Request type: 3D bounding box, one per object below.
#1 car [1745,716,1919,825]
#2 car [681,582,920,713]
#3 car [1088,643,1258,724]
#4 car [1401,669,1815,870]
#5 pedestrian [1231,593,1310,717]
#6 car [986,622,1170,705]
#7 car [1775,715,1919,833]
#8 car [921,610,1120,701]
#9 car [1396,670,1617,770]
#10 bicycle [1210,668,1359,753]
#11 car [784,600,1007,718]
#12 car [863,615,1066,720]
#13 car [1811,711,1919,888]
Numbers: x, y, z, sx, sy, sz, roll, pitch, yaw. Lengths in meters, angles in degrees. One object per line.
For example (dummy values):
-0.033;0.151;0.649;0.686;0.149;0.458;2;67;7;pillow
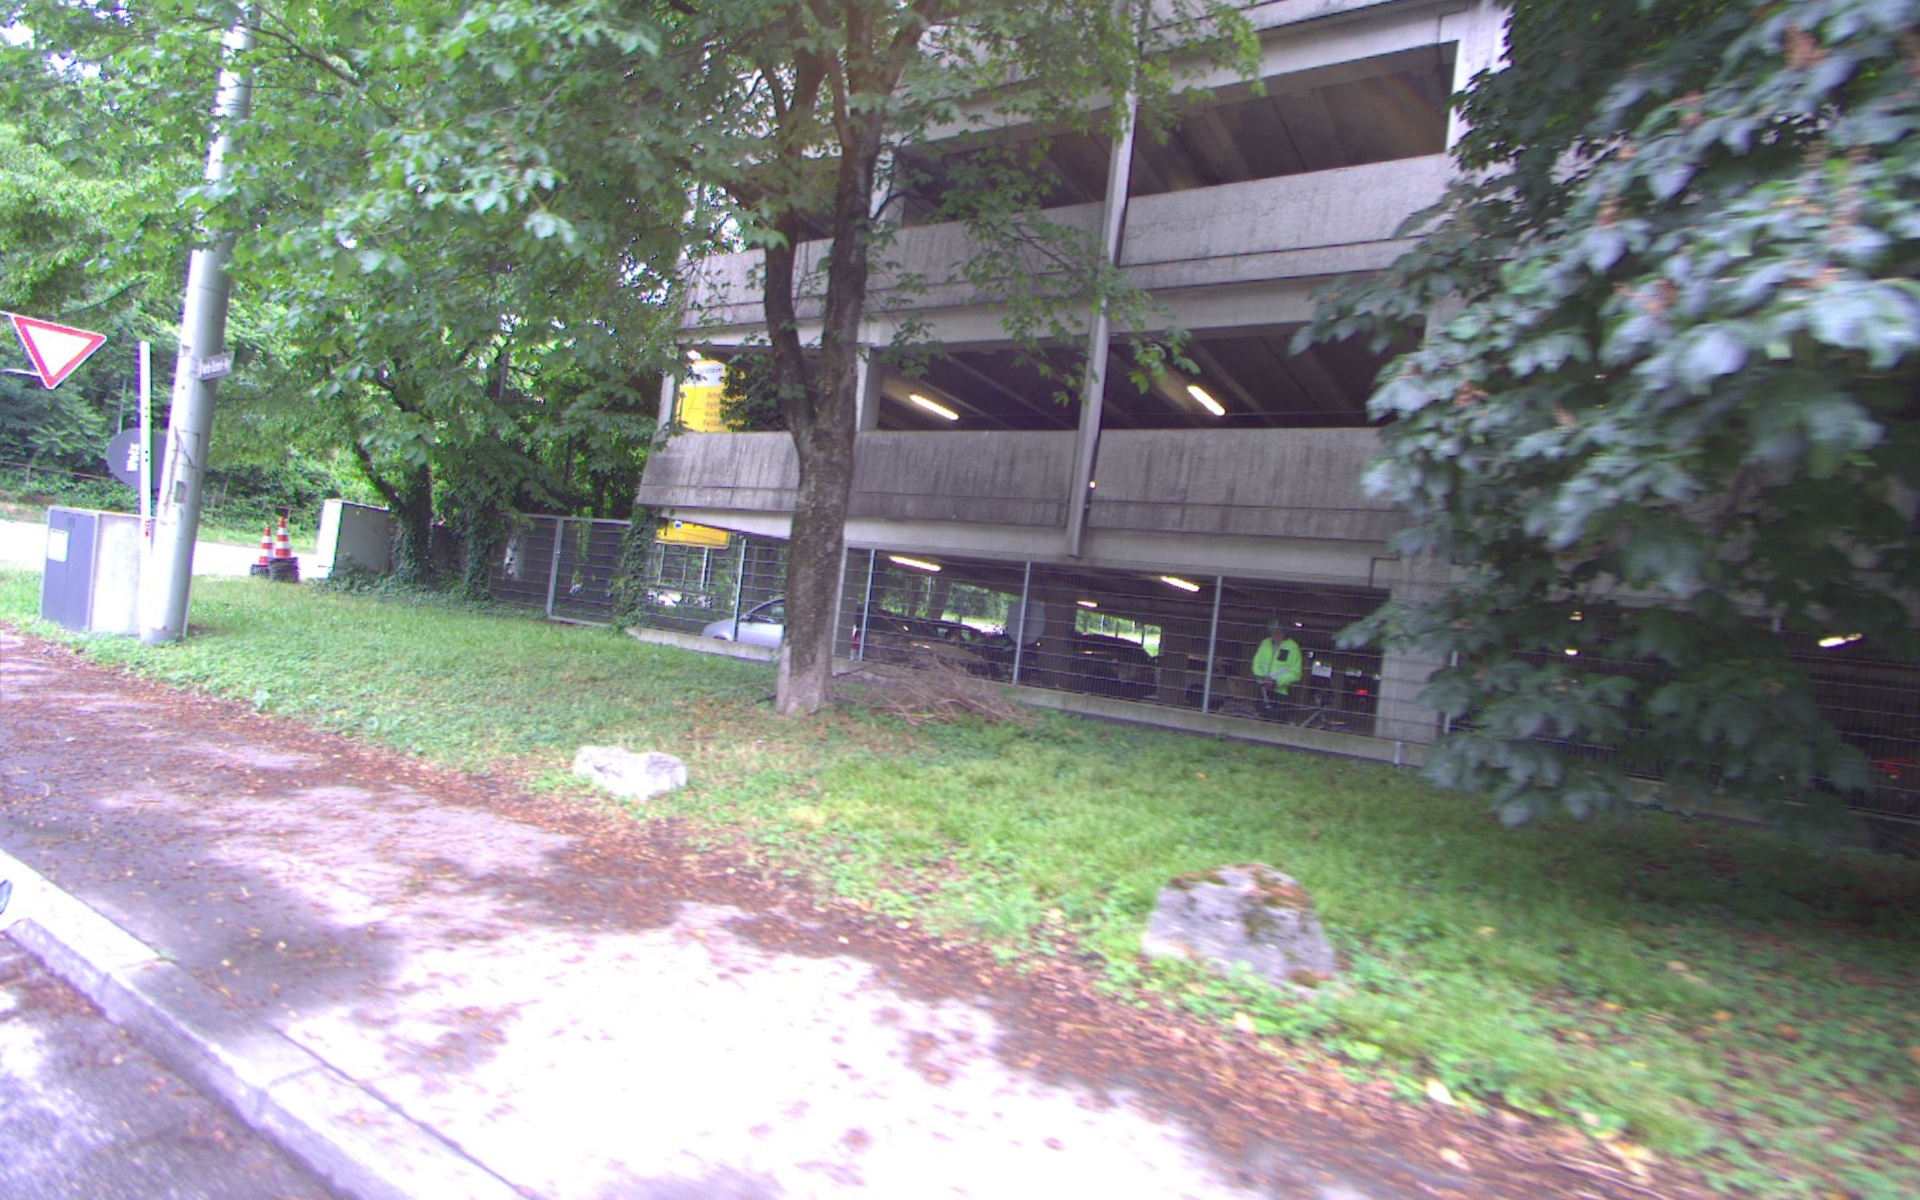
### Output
16.919;3.180;18.458;3.640;1.625;1.721;5;-3;30;car
-2.664;0.758;16.612;3.658;1.727;1.484;5;-3;32;car
6.590;2.579;31.270;4.659;1.855;1.923;6;-3;33;car
9.082;2.295;14.553;4.597;2.036;1.998;5;-3;31;car
3.563;0.634;11.521;0.626;1.332;0.642;5;-3;31;pedestrian
2.894;1.559;24.872;3.934;1.569;1.998;5;-4;32;car
15.530;2.881;16.009;3.640;1.625;1.721;5;-3;30;car
1.372;1.260;22.933;3.934;1.569;1.998;5;-4;32;car
11.739;2.551;21.782;3.935;1.585;1.721;5;-3;30;car
3.575;1.206;11.095;1.469;0.744;0.448;5;-3;24;bicycle
-1.217;1.067;18.538;3.708;1.727;1.584;5;-3;32;car
0.077;1.369;20.594;3.658;1.682;1.734;5;-3;32;car
13.137;2.622;12.187;3.936;2.036;1.997;5;-3;33;car
